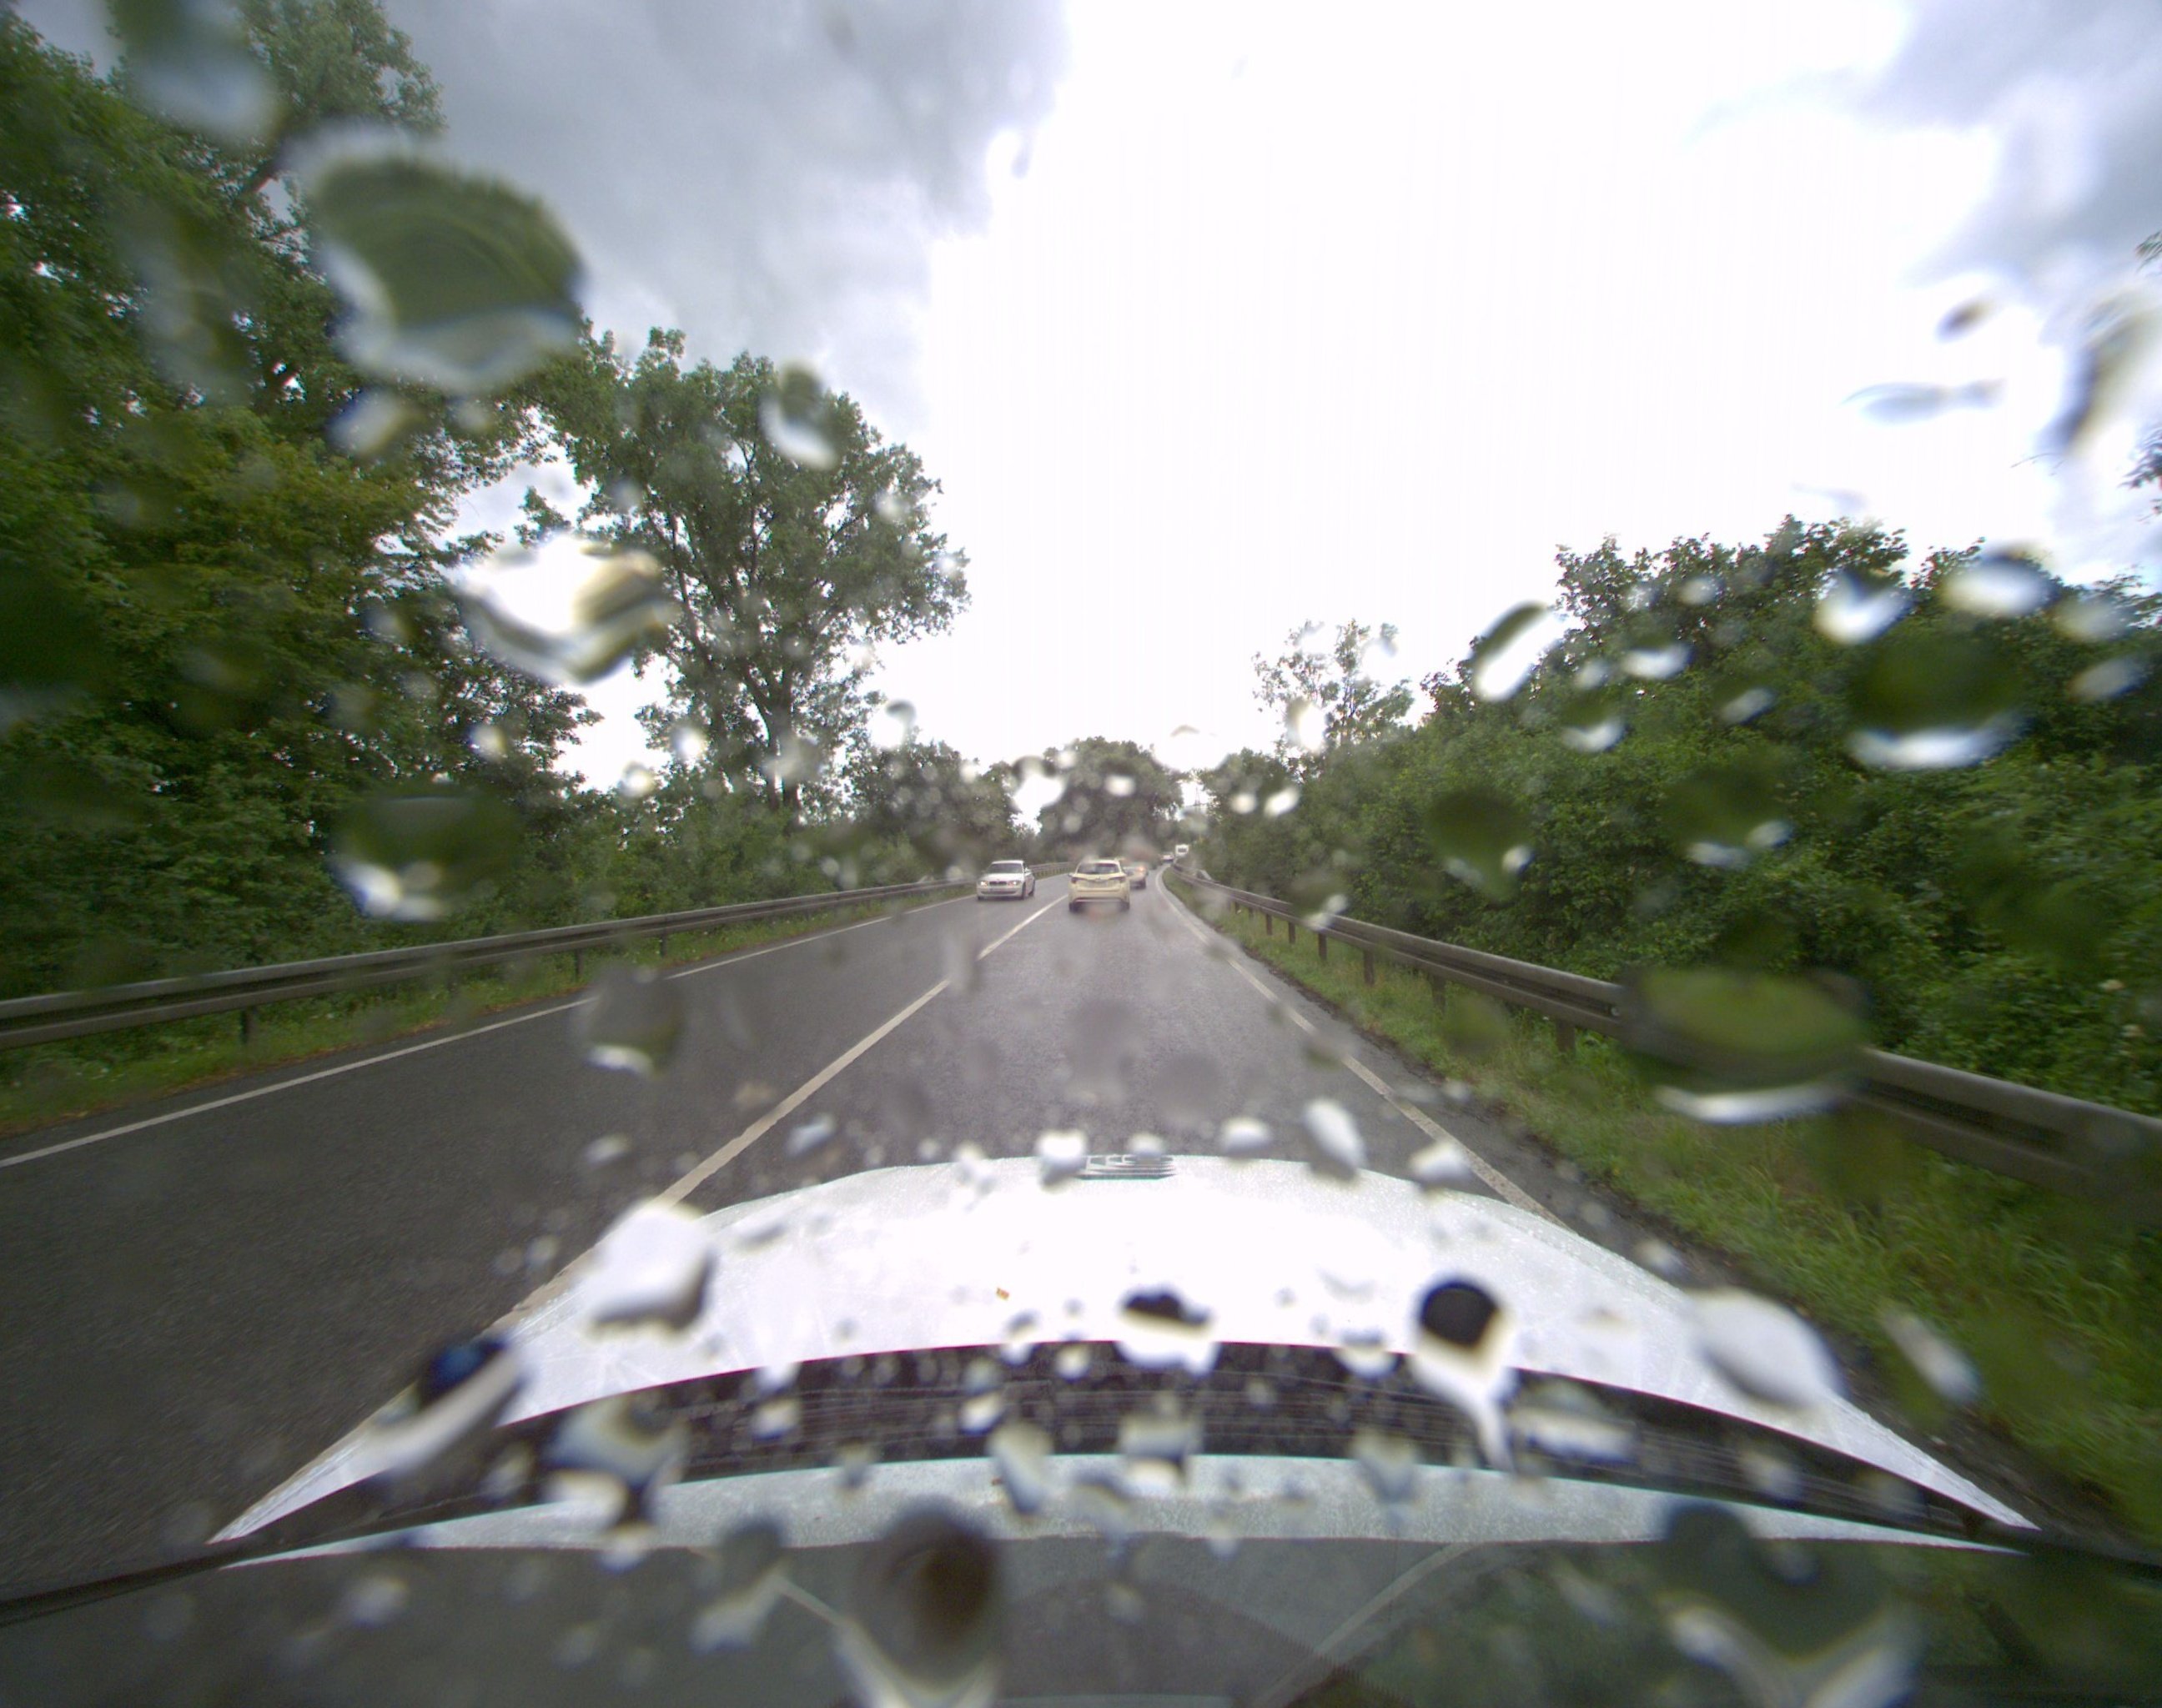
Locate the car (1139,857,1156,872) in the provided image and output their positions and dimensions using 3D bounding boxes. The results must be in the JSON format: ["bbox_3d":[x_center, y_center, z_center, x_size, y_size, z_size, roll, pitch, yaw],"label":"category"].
[{"bbox_3d":[6.624,1.061,81.072,1.653,1.409,3.908,-1,-1,4],"label":"car"}]

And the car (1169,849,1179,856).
[{"bbox_3d":[15.590,-0.240,135.971,1.363,1.201,3.328,-1,-1,12],"label":"car"}]

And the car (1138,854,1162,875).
[{"bbox_3d":[5.053,0.766,59.724,1.657,1.464,3.481,-1,0,4],"label":"car"}]

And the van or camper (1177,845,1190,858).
[{"bbox_3d":[18.021,-0.410,143.119,1.981,2.254,4.011,-1,-1,10],"label":"van or camper"}]

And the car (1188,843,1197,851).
[{"bbox_3d":[22.976,-1.417,167.750,1.636,1.585,3.694,-1,-1,11],"label":"car"}]

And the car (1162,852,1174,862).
[{"bbox_3d":[12.295,0.400,115.075,1.474,1.309,3.486,-1,0,9],"label":"car"}]

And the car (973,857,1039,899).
[{"bbox_3d":[-2.755,0.847,30.711,1.806,1.454,4.052,-1,0,4],"label":"car"}]

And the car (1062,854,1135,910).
[{"bbox_3d":[0.621,0.787,24.640,1.897,1.537,4.167,-1,0,5],"label":"car"}]

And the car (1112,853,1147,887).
[{"bbox_3d":[2.394,0.753,39.718,1.570,1.572,3.686,-1,0,5],"label":"car"}]

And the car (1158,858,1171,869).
[{"bbox_3d":[10.058,1.137,98.378,1.474,1.309,3.484,-1,0,7],"label":"car"}]
